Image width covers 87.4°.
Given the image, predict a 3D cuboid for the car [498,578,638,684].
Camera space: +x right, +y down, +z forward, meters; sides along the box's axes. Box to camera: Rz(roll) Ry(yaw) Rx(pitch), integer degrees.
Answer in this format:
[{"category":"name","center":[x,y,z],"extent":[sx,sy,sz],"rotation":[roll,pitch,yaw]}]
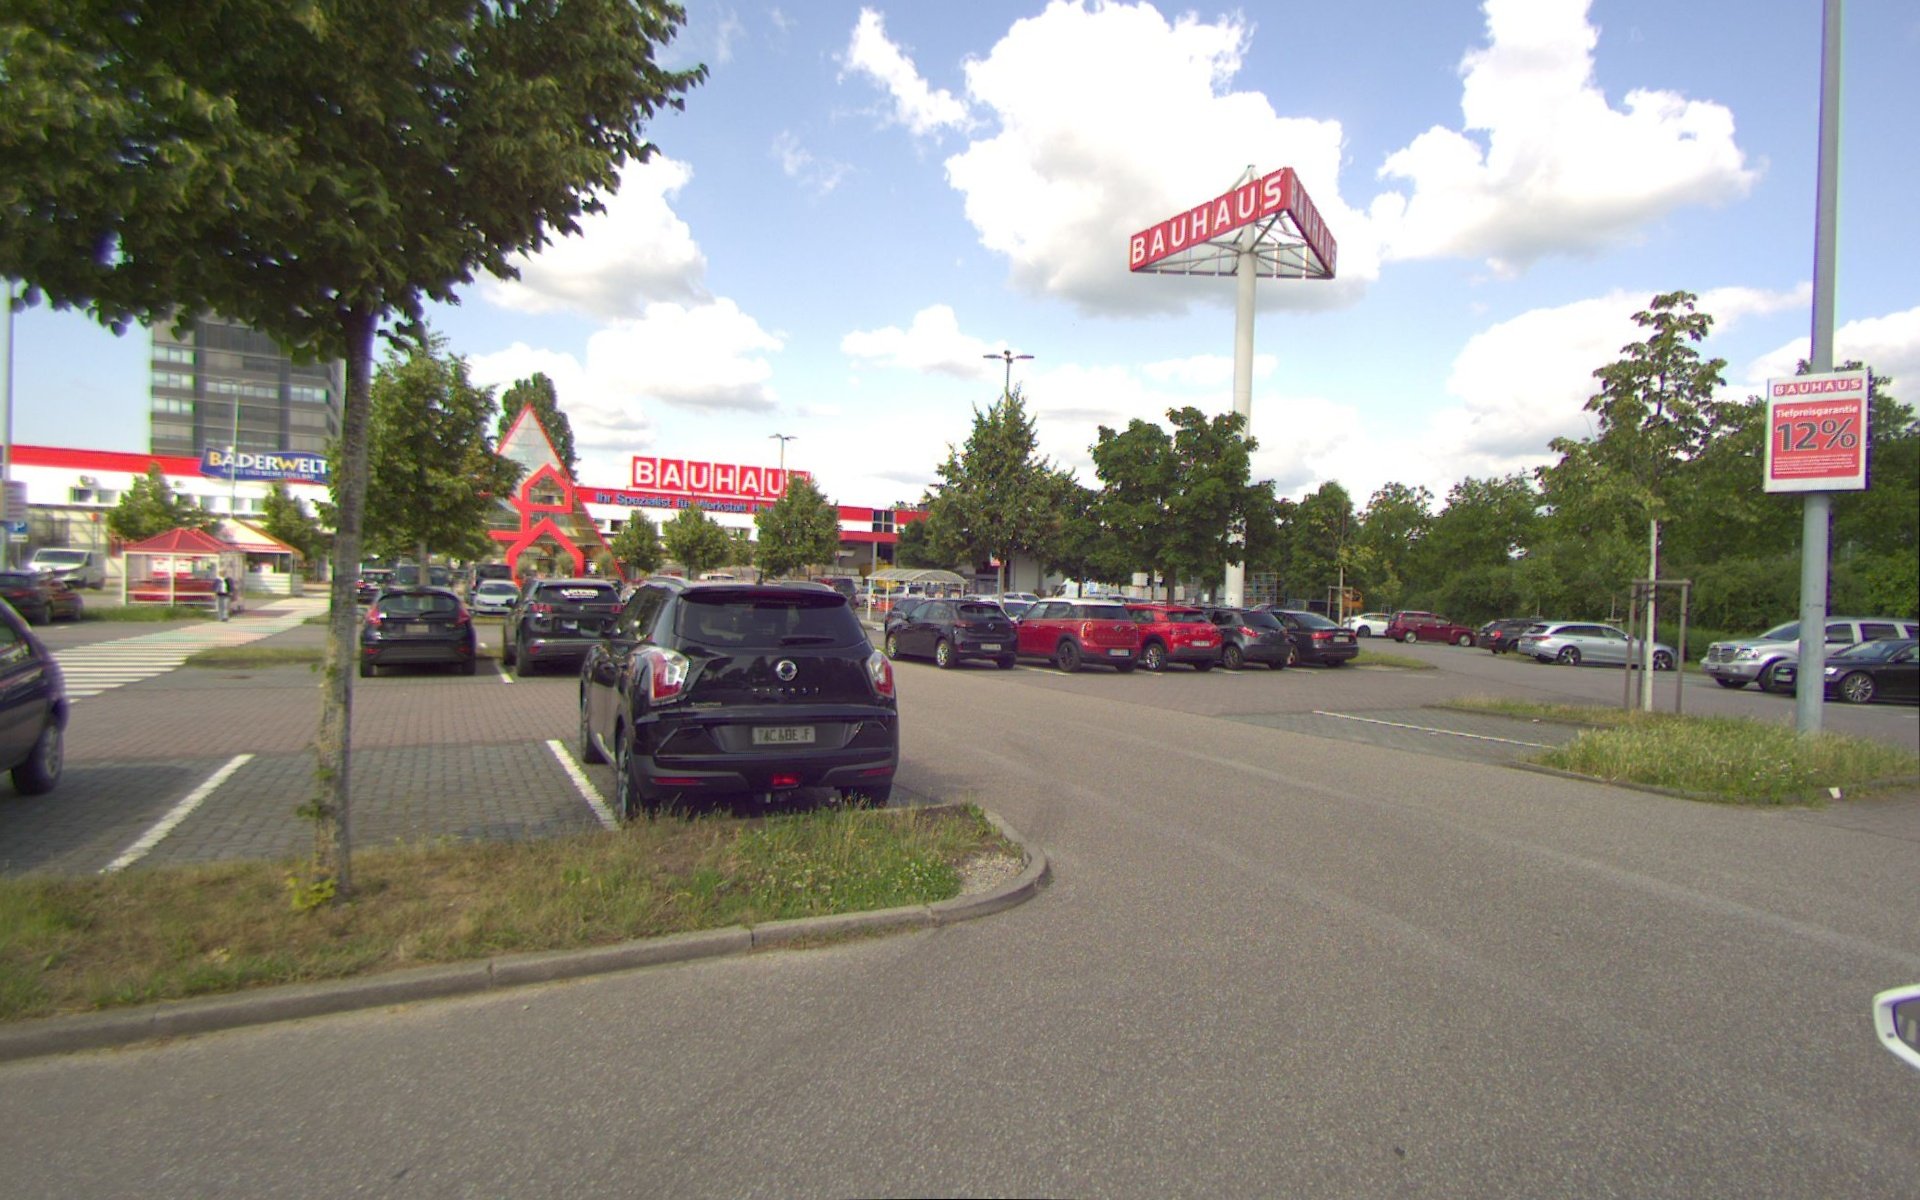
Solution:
[{"category":"car","center":[-7.096,0.469,17.951],"extent":[1.762,1.646,4.052],"rotation":[1,1,-29]}]

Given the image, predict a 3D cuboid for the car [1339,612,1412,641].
[{"category":"car","center":[23.966,1.501,58.032],"extent":[3.571,1.487,1.635],"rotation":[2,-1,6]}]

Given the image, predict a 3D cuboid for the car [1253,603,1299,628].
[{"category":"car","center":[21.279,1.027,67.617],"extent":[2.650,1.450,1.348],"rotation":[5,-1,-20]}]

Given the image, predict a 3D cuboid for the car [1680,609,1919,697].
[{"category":"car","center":[20.888,1.259,24.502],"extent":[5.044,1.867,1.991],"rotation":[2,1,5]}]

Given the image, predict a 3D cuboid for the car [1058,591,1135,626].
[{"category":"car","center":[7.022,0.423,51.957],"extent":[1.887,1.617,3.968],"rotation":[2,1,-29]}]

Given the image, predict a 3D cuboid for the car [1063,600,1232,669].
[{"category":"car","center":[4.360,0.771,23.954],"extent":[1.746,1.417,4.055],"rotation":[1,1,-30]}]

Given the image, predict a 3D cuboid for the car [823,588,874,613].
[{"category":"car","center":[-6.940,0.033,62.151],"extent":[1.724,1.357,3.435],"rotation":[5,-2,-33]}]

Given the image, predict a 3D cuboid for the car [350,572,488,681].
[{"category":"car","center":[-9.345,0.373,17.216],"extent":[1.765,1.646,3.673],"rotation":[1,1,-33]}]

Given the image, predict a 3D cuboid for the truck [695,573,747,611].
[{"category":"truck","center":[-14.595,-0.489,61.114],"extent":[1.837,2.040,5.372],"rotation":[5,-1,-26]}]

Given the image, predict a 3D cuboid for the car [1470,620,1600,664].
[{"category":"car","center":[22.085,1.588,38.685],"extent":[3.920,1.399,1.700],"rotation":[4,-1,5]}]

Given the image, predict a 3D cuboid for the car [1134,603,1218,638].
[{"category":"car","center":[9.998,0.930,46.761],"extent":[1.706,1.466,3.740],"rotation":[1,1,-32]}]

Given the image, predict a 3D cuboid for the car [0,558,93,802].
[{"category":"car","center":[-6.146,0.435,5.328],"extent":[1.602,1.386,3.733],"rotation":[2,1,-29]}]

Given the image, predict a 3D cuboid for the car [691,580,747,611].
[{"category":"car","center":[-13.062,-0.269,54.305],"extent":[1.976,1.529,3.969],"rotation":[2,1,-29]}]

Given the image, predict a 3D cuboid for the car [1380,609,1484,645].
[{"category":"car","center":[23.683,1.345,50.546],"extent":[4.233,1.617,2.001],"rotation":[2,1,5]}]

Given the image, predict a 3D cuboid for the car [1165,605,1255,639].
[{"category":"car","center":[11.912,1.038,48.145],"extent":[1.807,1.458,4.055],"rotation":[1,1,-32]}]

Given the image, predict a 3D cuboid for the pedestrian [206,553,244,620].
[{"category":"pedestrian","center":[-23.073,-0.422,31.543],"extent":[0.807,2.040,0.908],"rotation":[1,1,-30]}]

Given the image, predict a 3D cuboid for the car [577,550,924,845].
[{"category":"car","center":[-1.861,0.526,7.760],"extent":[1.713,1.646,3.937],"rotation":[2,1,-26]}]

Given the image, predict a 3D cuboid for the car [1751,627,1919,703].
[{"category":"car","center":[20.413,1.429,21.901],"extent":[4.629,1.470,1.840],"rotation":[2,1,8]}]

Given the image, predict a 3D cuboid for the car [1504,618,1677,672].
[{"category":"car","center":[21.080,1.482,33.719],"extent":[4.560,1.524,1.785],"rotation":[2,1,6]}]

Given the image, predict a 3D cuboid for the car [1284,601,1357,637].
[{"category":"car","center":[22.707,1.200,63.249],"extent":[4.002,2.045,1.936],"rotation":[4,-1,-24]}]

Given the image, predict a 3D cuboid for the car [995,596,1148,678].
[{"category":"car","center":[2.405,0.765,22.421],"extent":[1.689,1.602,3.419],"rotation":[1,1,-30]}]

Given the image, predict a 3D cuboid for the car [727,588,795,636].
[{"category":"car","center":[-7.313,0.414,36.642],"extent":[1.677,1.624,3.201],"rotation":[2,1,-25]}]

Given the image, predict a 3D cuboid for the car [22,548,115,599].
[{"category":"car","center":[-40.559,-1.199,45.847],"extent":[1.976,2.040,4.772],"rotation":[5,-1,-28]}]

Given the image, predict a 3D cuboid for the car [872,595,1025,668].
[{"category":"car","center":[-0.349,0.652,22.220],"extent":[1.708,1.387,3.853],"rotation":[2,1,-30]}]

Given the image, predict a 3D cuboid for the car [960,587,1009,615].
[{"category":"car","center":[1.885,0.058,79.402],"extent":[1.978,2.040,3.967],"rotation":[5,-1,-30]}]

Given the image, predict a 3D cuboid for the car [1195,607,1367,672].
[{"category":"car","center":[8.464,1.004,26.930],"extent":[1.748,1.452,4.512],"rotation":[2,1,-26]}]

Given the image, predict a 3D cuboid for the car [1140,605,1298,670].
[{"category":"car","center":[6.400,0.885,25.264],"extent":[1.560,1.387,3.970],"rotation":[2,1,-28]}]

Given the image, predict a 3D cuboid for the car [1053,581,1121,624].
[{"category":"car","center":[8.299,0.146,65.891],"extent":[2.027,2.543,4.694],"rotation":[3,1,-27]}]

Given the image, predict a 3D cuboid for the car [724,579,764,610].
[{"category":"car","center":[-15.684,-0.404,72.839],"extent":[1.972,2.040,3.977],"rotation":[5,-1,-23]}]

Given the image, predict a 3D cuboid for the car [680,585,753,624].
[{"category":"car","center":[-10.456,0.161,42.919],"extent":[1.976,1.487,4.383],"rotation":[2,0,-28]}]

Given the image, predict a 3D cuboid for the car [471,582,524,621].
[{"category":"car","center":[-17.772,0.032,38.586],"extent":[1.720,1.405,3.538],"rotation":[2,0,-25]}]

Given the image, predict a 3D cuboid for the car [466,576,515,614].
[{"category":"car","center":[-22.496,-0.233,48.100],"extent":[1.679,1.635,2.633],"rotation":[5,-1,-33]}]

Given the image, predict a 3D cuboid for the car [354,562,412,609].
[{"category":"car","center":[-26.748,-0.661,46.675],"extent":[1.973,2.040,3.974],"rotation":[1,1,-25]}]

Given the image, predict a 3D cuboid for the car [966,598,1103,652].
[{"category":"car","center":[2.059,0.683,29.103],"extent":[1.872,1.371,4.246],"rotation":[2,0,-30]}]

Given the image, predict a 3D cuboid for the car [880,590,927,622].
[{"category":"car","center":[-3.348,0.344,59.548],"extent":[1.583,1.767,3.142],"rotation":[0,1,-29]}]

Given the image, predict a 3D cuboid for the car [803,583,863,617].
[{"category":"car","center":[-7.213,-0.034,56.732],"extent":[1.977,1.802,3.967],"rotation":[2,1,-30]}]

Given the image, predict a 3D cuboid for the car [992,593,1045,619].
[{"category":"car","center":[3.590,0.384,62.384],"extent":[1.525,1.423,3.597],"rotation":[5,-1,-29]}]

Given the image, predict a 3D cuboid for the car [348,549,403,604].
[{"category":"car","center":[-30.827,-1.211,52.920],"extent":[2.215,2.671,4.290],"rotation":[3,0,-33]}]

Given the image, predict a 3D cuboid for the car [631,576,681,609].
[{"category":"car","center":[-15.621,-0.409,51.540],"extent":[1.708,1.528,3.211],"rotation":[5,-1,-29]}]
